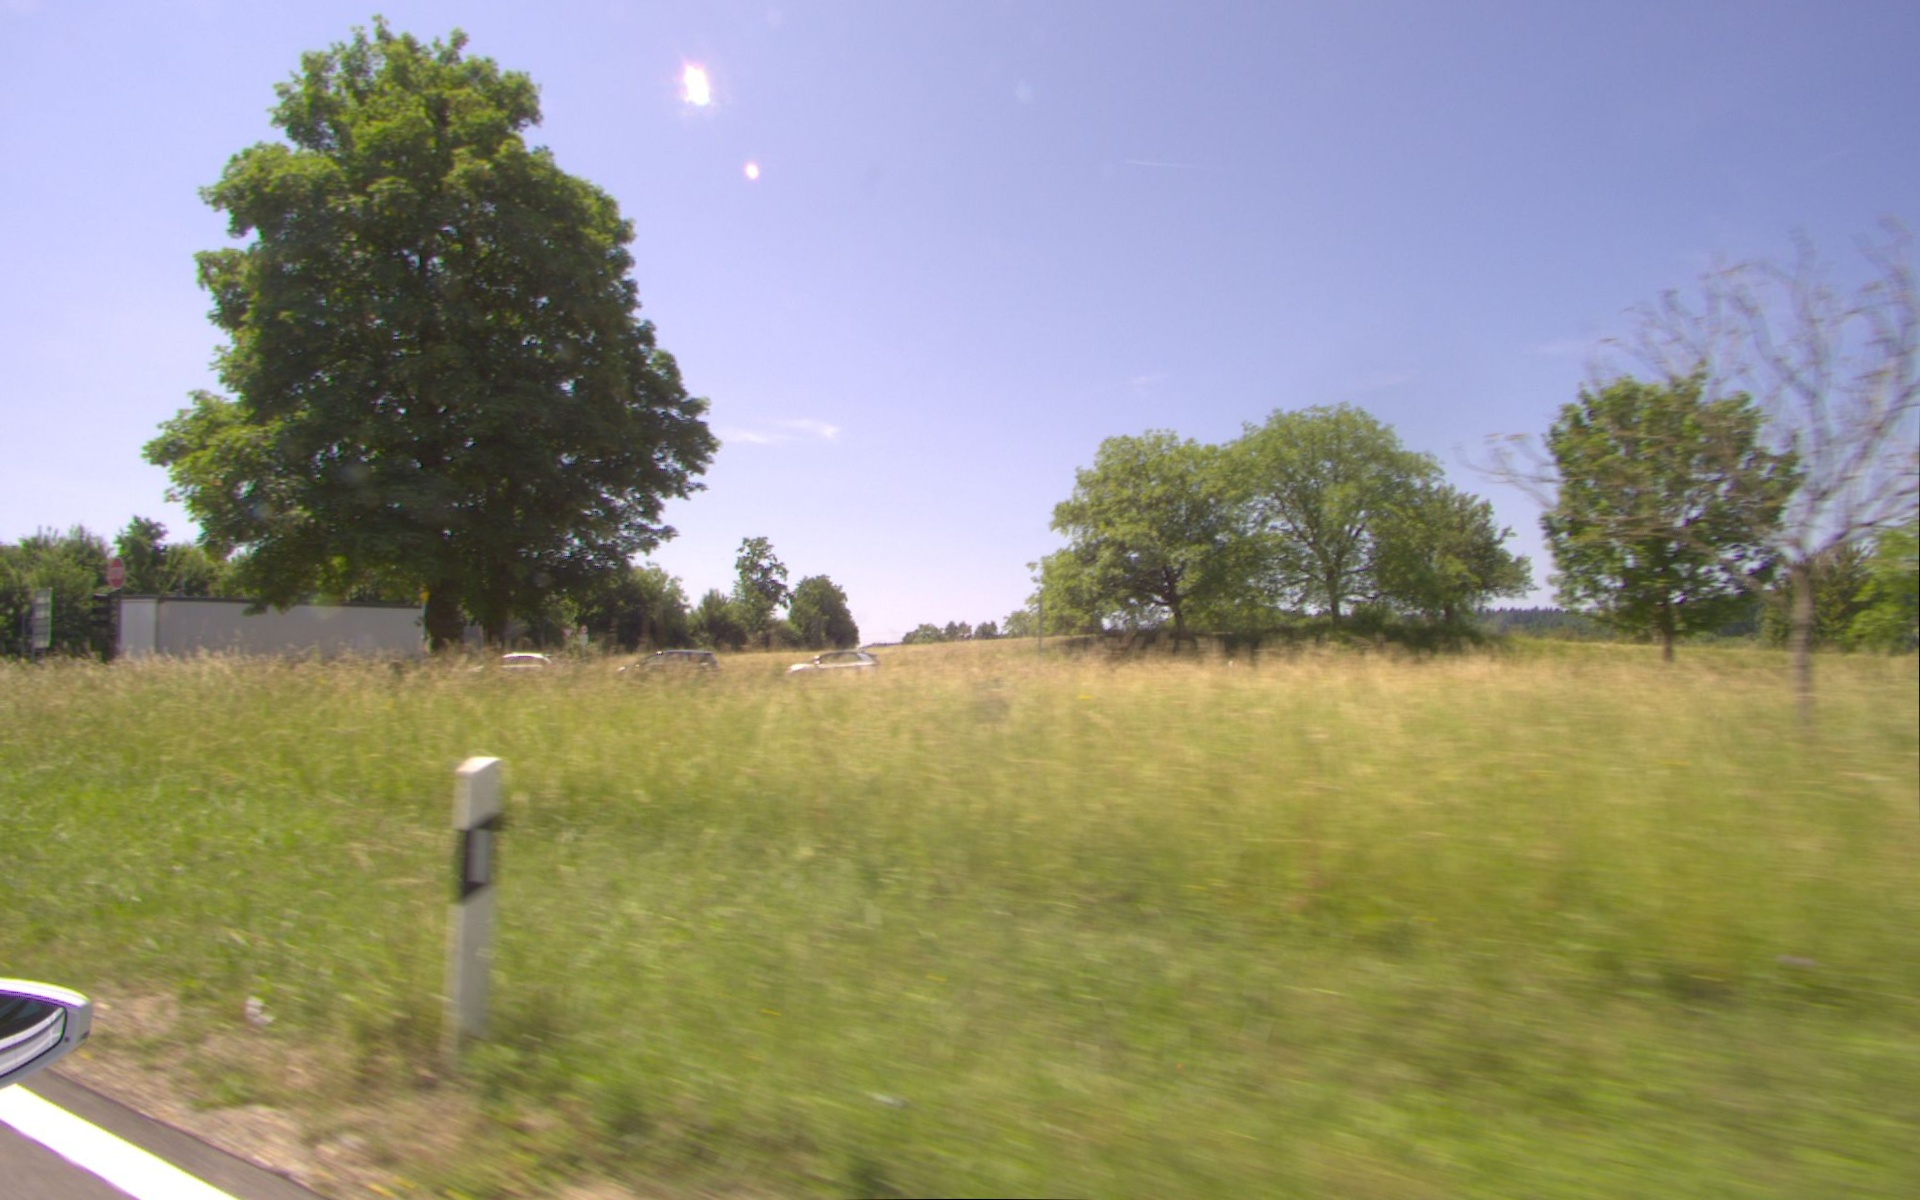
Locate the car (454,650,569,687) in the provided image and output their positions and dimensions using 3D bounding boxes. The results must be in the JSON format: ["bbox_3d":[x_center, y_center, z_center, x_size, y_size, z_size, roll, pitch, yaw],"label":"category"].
[{"bbox_3d":[-19.007,2.889,42.521,4.089,1.489,1.730,0,-1,0],"label":"car"}]

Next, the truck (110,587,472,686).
[{"bbox_3d":[-32.606,1.849,50.777,3.081,4.225,16.657,-1,-2,20],"label":"truck"}]

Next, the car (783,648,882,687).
[{"bbox_3d":[-5.404,2.859,42.626,3.943,1.573,1.655,0,-1,3],"label":"car"}]

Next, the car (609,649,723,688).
[{"bbox_3d":[-12.353,2.857,42.211,4.297,1.573,1.730,0,-1,3],"label":"car"}]
